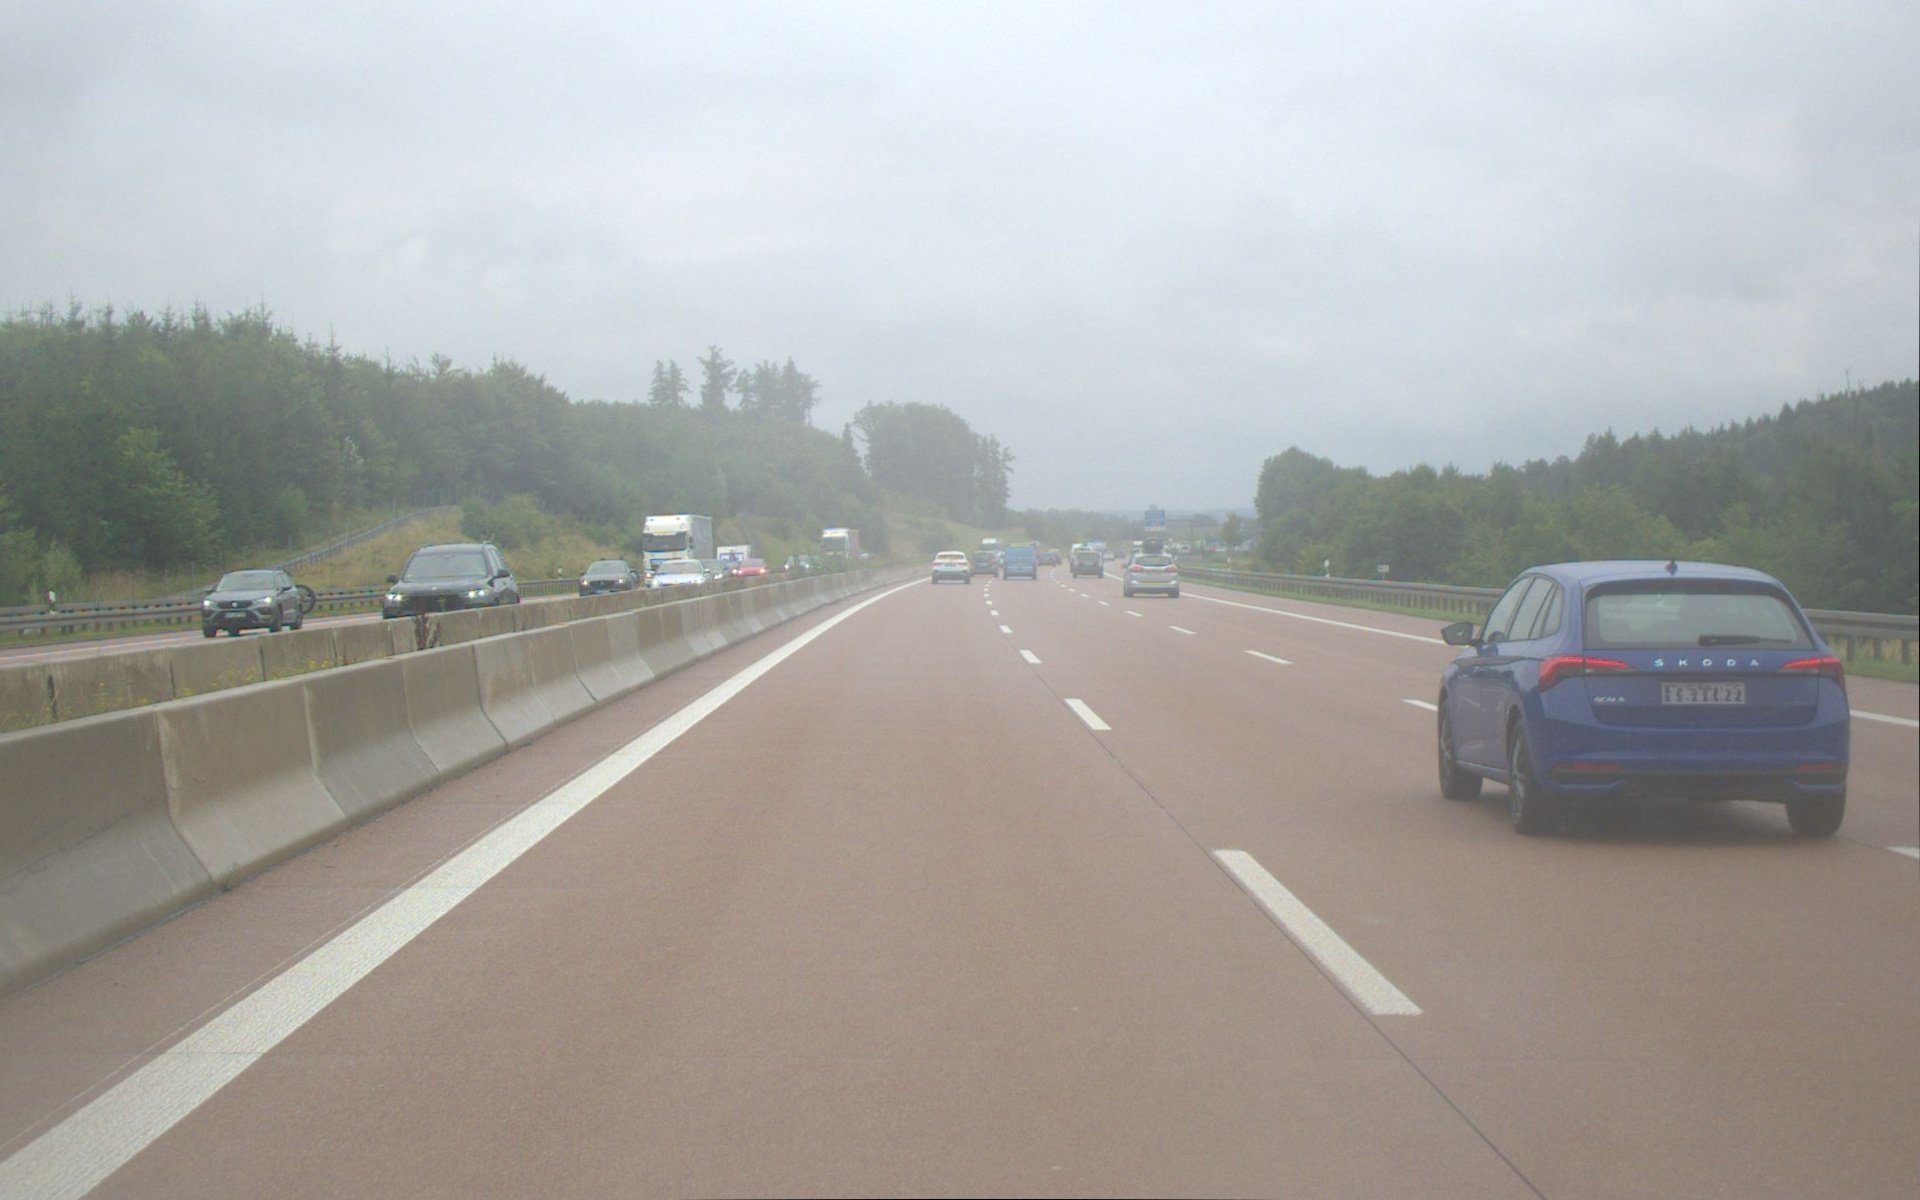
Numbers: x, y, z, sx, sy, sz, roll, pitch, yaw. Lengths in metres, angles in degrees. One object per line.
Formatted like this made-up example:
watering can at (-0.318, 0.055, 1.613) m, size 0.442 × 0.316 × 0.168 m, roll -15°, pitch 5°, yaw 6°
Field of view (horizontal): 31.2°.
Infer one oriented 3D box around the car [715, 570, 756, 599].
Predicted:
car at (-12.657, -0.883, 194.283) m, size 1.993 × 1.540 × 4.280 m, roll -2°, pitch 0°, yaw 0°

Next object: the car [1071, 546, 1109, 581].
car at (7.765, -2.154, 205.888) m, size 1.993 × 2.007 × 4.000 m, roll 1°, pitch 0°, yaw -2°

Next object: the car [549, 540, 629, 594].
car at (-13.549, -1.183, 125.963) m, size 2.280 × 1.855 × 5.728 m, roll 1°, pitch 0°, yaw 0°

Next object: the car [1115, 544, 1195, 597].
car at (6.734, -1.014, 119.158) m, size 2.322 × 1.744 × 4.877 m, roll 1°, pitch 0°, yaw -2°

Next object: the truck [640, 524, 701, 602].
truck at (-16.056, -2.041, 191.074) m, size 2.768 × 4.161 × 6.001 m, roll -2°, pitch 0°, yaw 0°

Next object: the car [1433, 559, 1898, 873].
car at (3.848, 0.594, 19.434) m, size 1.771 × 1.559 × 4.146 m, roll 1°, pitch 0°, yaw 0°

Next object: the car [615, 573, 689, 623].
car at (-10.071, -0.055, 112.633) m, size 1.993 × 1.555 × 4.946 m, roll 1°, pitch 0°, yaw 0°

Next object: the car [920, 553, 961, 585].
car at (-0.953, -1.481, 165.704) m, size 1.874 × 1.439 × 4.877 m, roll 1°, pitch 0°, yaw -1°

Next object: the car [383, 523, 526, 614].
car at (-9.027, -0.595, 61.697) m, size 1.865 × 1.546 × 4.807 m, roll 1°, pitch 1°, yaw 0°

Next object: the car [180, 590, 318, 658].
car at (-17.318, 0.580, 83.979) m, size 1.993 × 1.555 × 5.744 m, roll 1°, pitch 0°, yaw 2°

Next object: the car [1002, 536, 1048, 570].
car at (3.589, -2.610, 191.022) m, size 2.322 × 1.744 × 4.877 m, roll 1°, pitch 0°, yaw -2°
